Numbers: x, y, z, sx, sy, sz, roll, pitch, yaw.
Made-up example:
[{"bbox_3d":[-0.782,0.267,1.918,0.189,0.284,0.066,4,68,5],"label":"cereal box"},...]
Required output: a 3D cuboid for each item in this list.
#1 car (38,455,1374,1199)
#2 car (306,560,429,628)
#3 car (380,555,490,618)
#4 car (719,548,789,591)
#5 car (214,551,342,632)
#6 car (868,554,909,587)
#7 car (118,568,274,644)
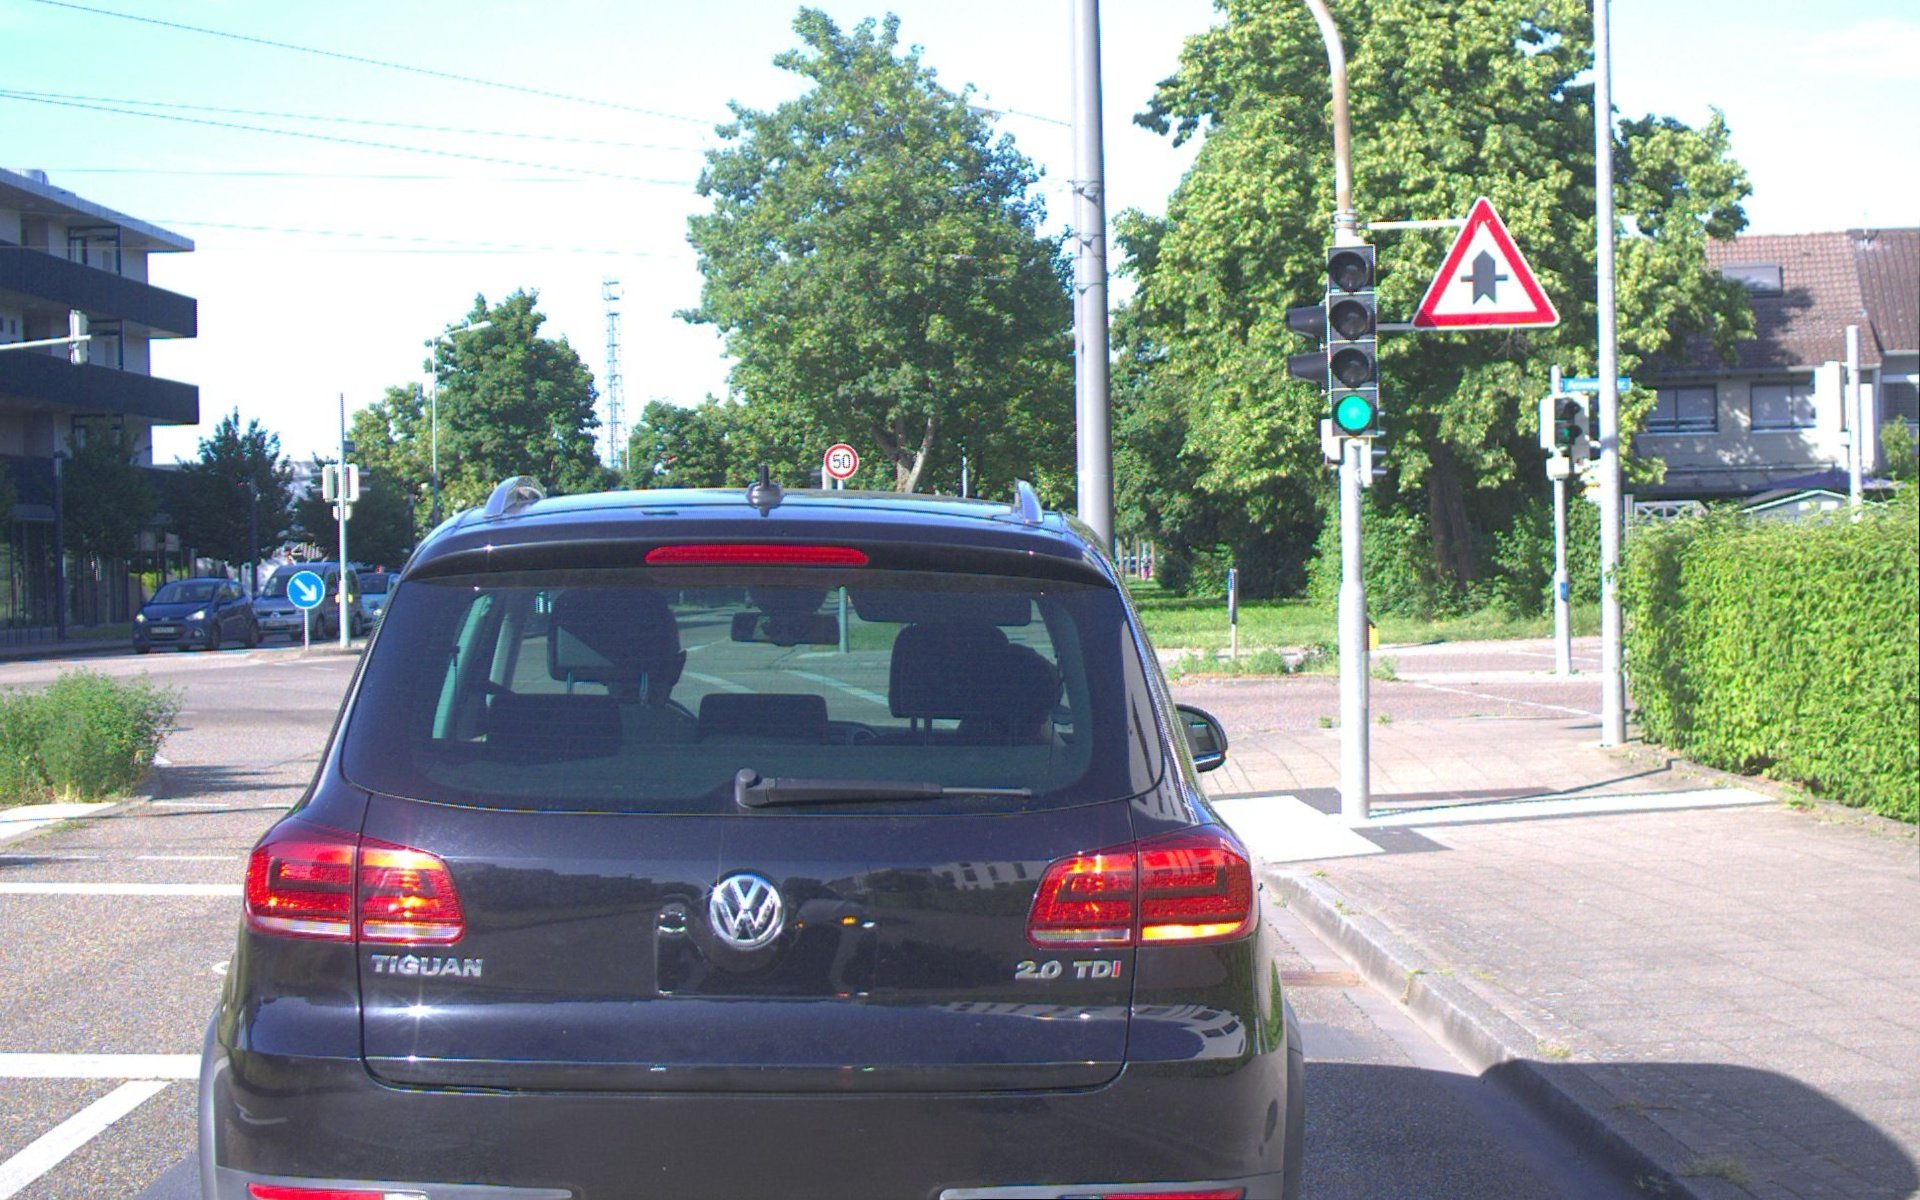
[{"bbox_3d":[-0.447,0.605,7.277,1.929,1.649,4.515,1,1,-2],"label":"car"},{"bbox_3d":[-14.346,-0.161,83.406,1.994,1.482,3.543,-3,1,6],"label":"car"},{"bbox_3d":[-13.547,-0.366,88.968,1.967,1.529,4.740,-1,1,2],"label":"car"},{"bbox_3d":[-8.037,-1.205,134.366,1.994,1.566,3.999,-1,1,8],"label":"car"},{"bbox_3d":[-15.483,-0.220,78.294,1.993,1.749,4.362,-1,1,0],"label":"car"},{"bbox_3d":[-4.006,-1.651,192.326,1.993,1.731,5.199,-1,1,2],"label":"car"},{"bbox_3d":[-15.723,0.094,70.982,1.696,1.451,4.451,-1,1,8],"label":"car"}]
